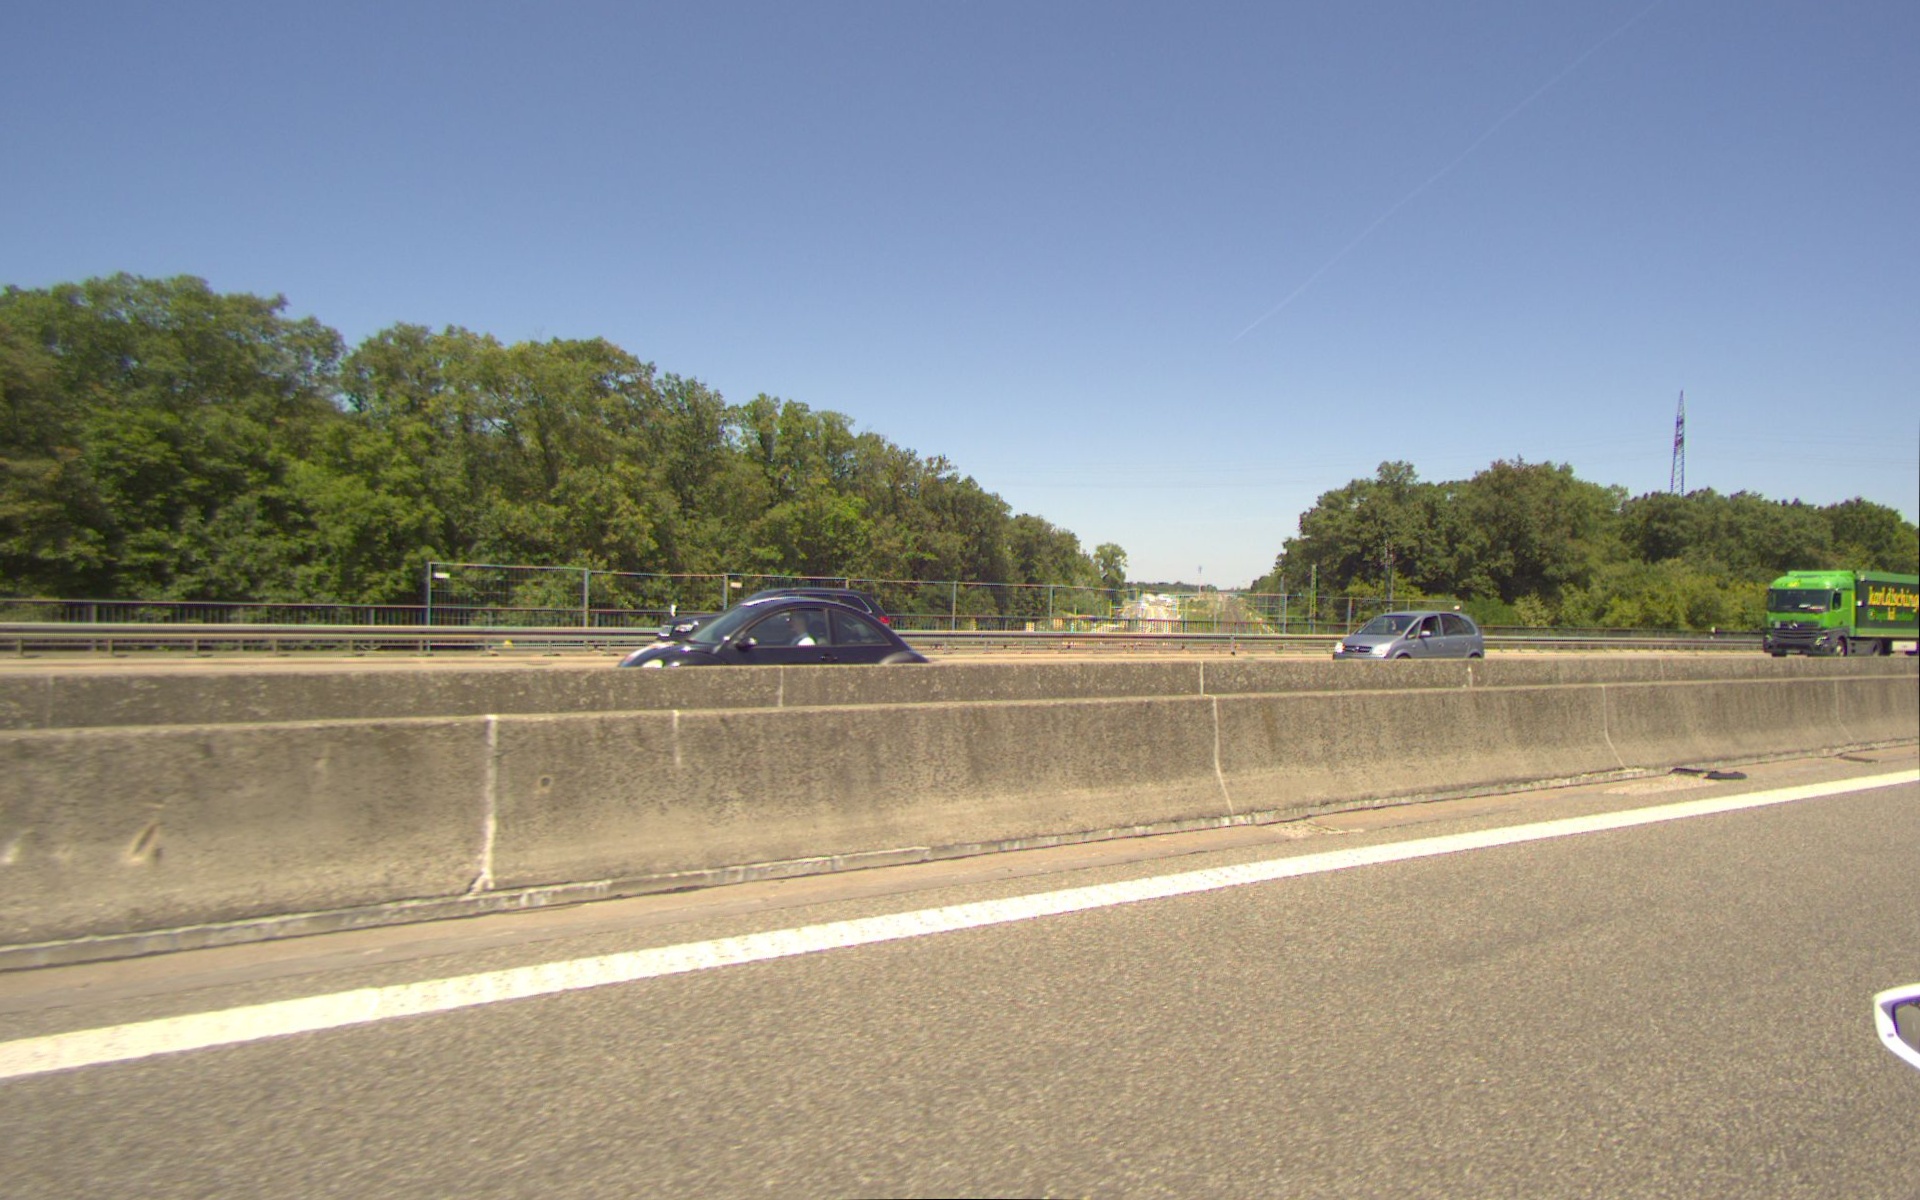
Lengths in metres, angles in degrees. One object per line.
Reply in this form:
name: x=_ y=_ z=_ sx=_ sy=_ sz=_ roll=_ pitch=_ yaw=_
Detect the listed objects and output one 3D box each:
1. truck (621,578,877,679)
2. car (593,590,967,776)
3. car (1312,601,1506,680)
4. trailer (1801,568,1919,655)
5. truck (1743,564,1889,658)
truck: x=-4.221 y=0.554 z=20.279 sx=4.687 sy=1.824 sz=1.984 roll=1 pitch=0 yaw=-30
car: x=-2.128 y=0.874 z=12.016 sx=3.953 sy=1.873 sz=1.984 roll=1 pitch=0 yaw=-30
car: x=10.764 y=0.928 z=24.029 sx=4.486 sy=1.735 sz=1.990 roll=1 pitch=0 yaw=-30
trailer: x=46.082 y=0.586 z=49.737 sx=11.725 sy=3.914 sz=2.910 roll=1 pitch=0 yaw=-30
truck: x=38.903 y=0.517 z=45.609 sx=6.417 sy=3.993 sz=2.910 roll=1 pitch=0 yaw=-28
